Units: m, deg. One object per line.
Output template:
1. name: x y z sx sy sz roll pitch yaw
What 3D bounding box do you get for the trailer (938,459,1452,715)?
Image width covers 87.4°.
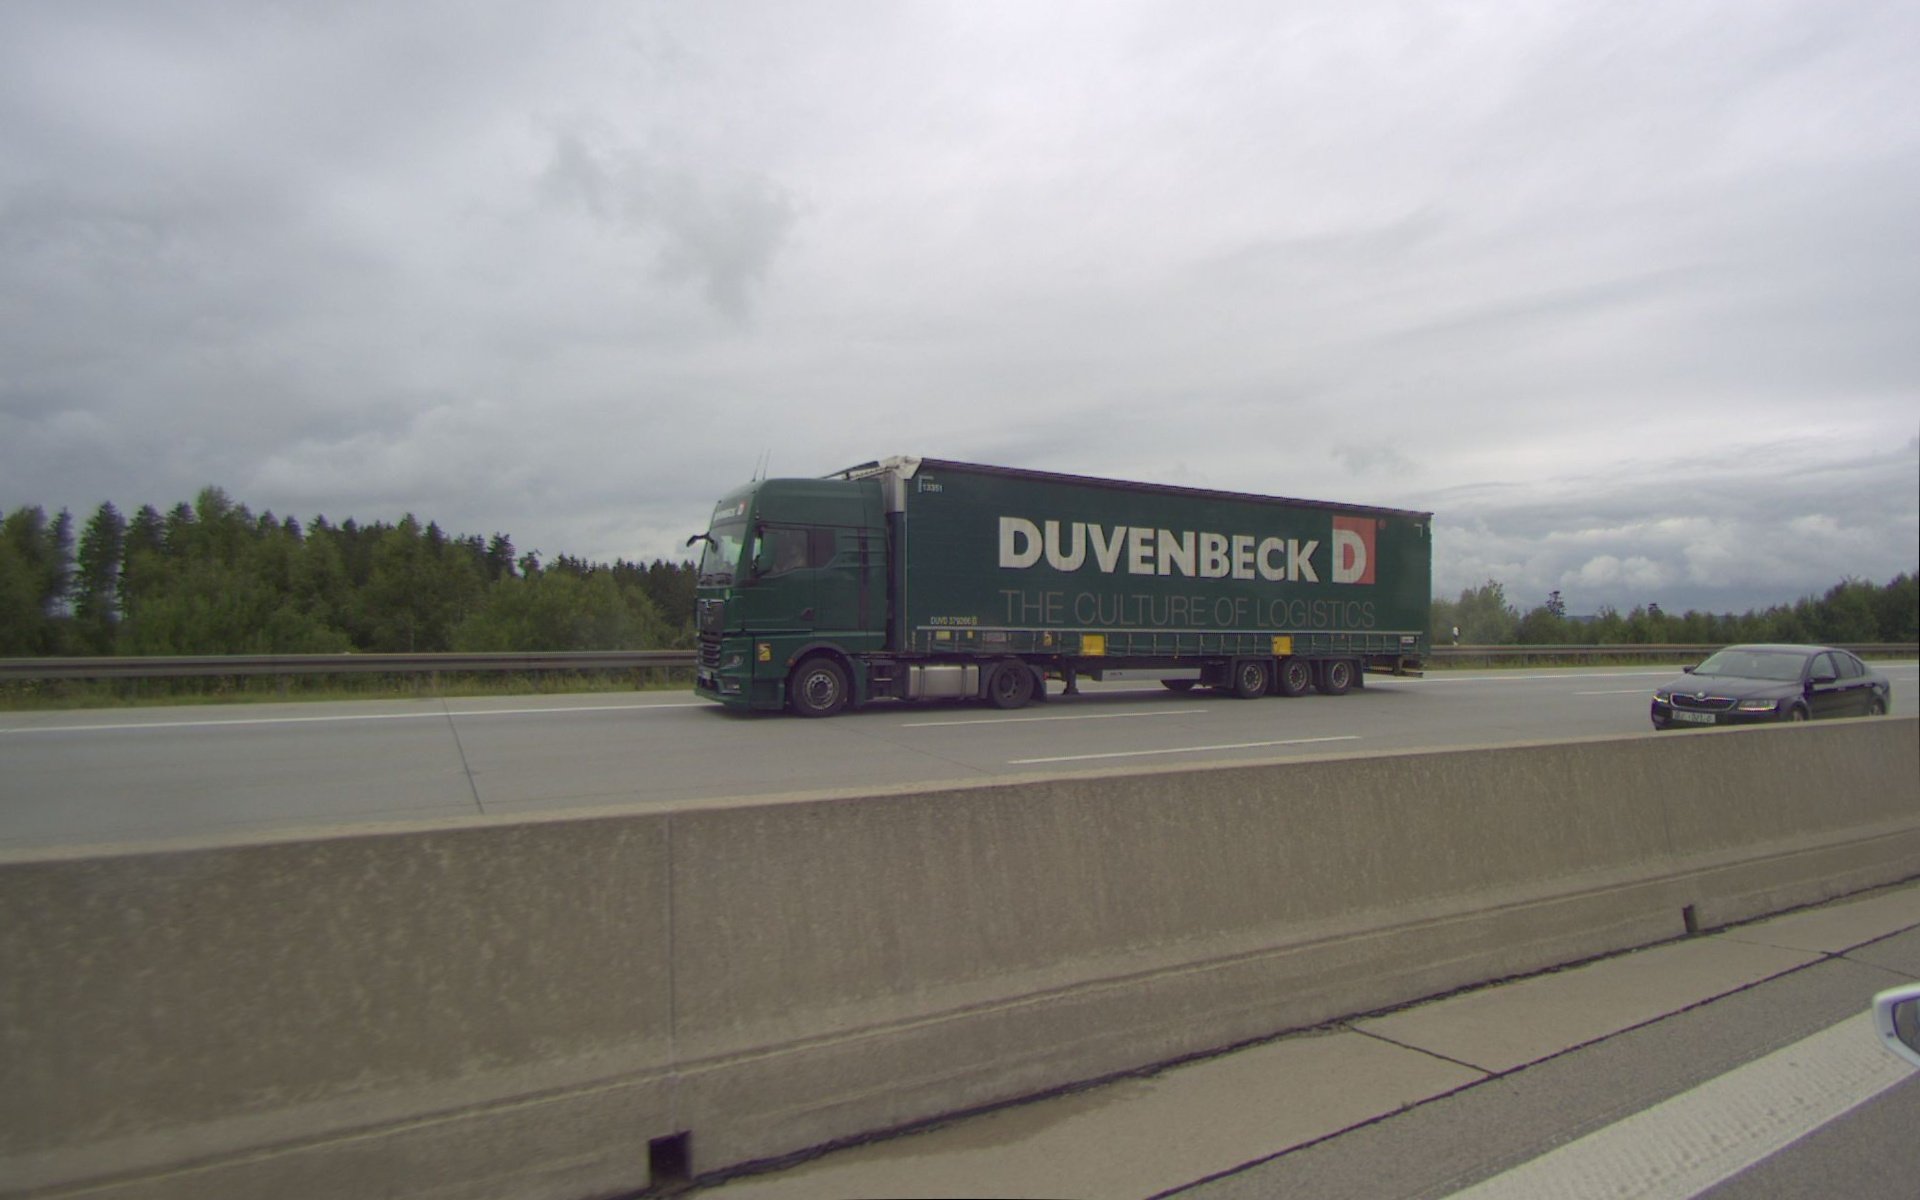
1. trailer: 5.439 -0.232 21.241 12.024 4.339 2.751 0 1 -31

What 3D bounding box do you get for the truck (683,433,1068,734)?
1. truck: -1.392 -0.260 17.185 5.978 4.320 2.775 0 1 -31

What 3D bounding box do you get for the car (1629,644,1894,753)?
1. car: 12.387 1.413 15.469 4.315 1.375 1.763 0 -2 -31
